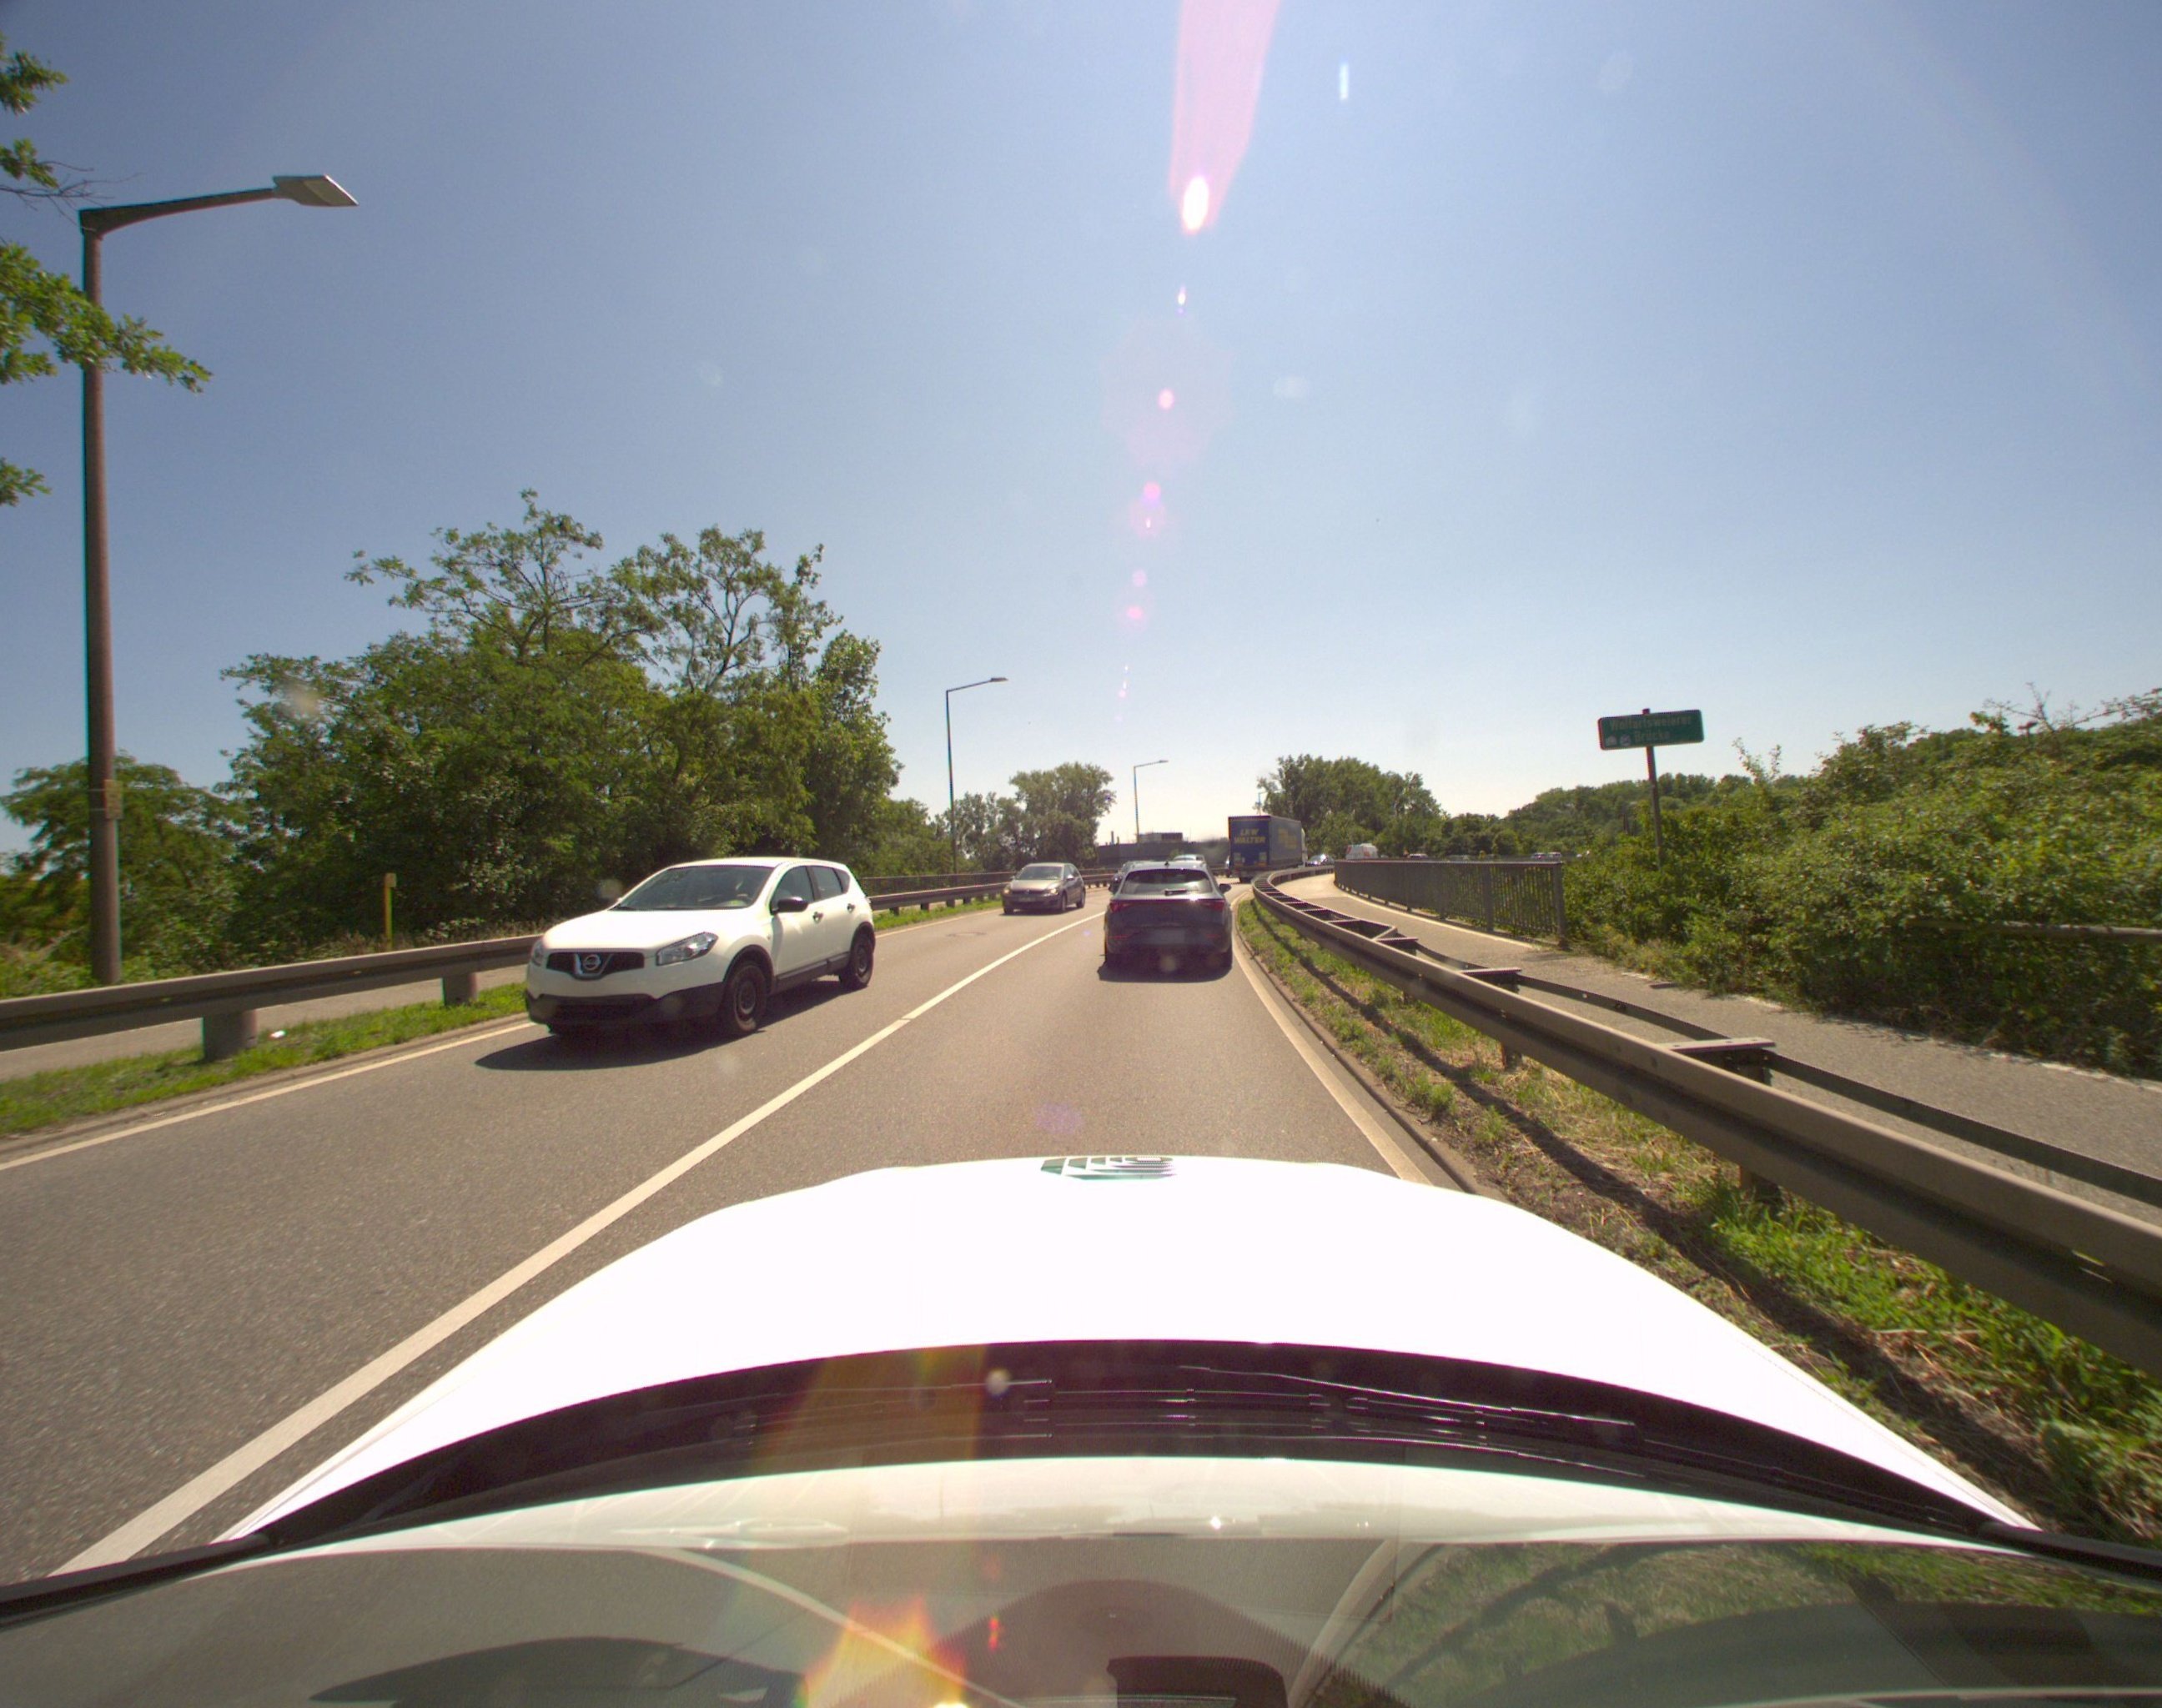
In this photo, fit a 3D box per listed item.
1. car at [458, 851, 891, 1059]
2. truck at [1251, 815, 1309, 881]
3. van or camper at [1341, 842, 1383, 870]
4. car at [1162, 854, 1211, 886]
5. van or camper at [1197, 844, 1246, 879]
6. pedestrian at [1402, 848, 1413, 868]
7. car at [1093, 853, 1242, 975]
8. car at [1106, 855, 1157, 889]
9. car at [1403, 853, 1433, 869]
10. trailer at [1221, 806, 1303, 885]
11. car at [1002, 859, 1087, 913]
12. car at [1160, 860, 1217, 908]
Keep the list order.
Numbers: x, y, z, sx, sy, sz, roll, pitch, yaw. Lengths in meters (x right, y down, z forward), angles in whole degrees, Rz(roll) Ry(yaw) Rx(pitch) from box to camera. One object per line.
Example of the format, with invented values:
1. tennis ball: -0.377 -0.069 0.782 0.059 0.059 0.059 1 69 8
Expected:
1. car: -3.615 0.779 8.336 1.736 1.546 4.403 -1 -1 8
2. truck: 14.892 -0.336 60.495 3.142 4.585 7.435 -1 -1 22
3. van or camper: 28.877 0.182 83.600 2.181 2.711 5.963 -2 -1 38
4. car: 6.529 0.983 50.201 1.741 1.855 4.299 -1 -1 25
5. van or camper: 11.272 0.559 65.029 2.029 2.537 5.919 -4 -1 27
6. pedestrian: 32.091 0.415 80.028 0.729 1.967 0.739 -1 -2 38
7. car: 1.145 0.763 12.060 1.838 1.499 3.760 -1 -1 2
8. car: 2.382 0.790 37.147 1.745 1.442 4.581 -1 -1 11
9. car: 39.709 0.816 95.970 1.871 1.850 4.023 -1 -2 44
10. trailer: 12.361 -0.410 54.350 3.106 4.614 13.017 0 -1 23
11. car: -0.995 0.899 24.431 1.706 1.428 4.117 -2 0 9
12. car: 3.554 0.929 26.430 1.582 1.461 3.556 0 -1 12
